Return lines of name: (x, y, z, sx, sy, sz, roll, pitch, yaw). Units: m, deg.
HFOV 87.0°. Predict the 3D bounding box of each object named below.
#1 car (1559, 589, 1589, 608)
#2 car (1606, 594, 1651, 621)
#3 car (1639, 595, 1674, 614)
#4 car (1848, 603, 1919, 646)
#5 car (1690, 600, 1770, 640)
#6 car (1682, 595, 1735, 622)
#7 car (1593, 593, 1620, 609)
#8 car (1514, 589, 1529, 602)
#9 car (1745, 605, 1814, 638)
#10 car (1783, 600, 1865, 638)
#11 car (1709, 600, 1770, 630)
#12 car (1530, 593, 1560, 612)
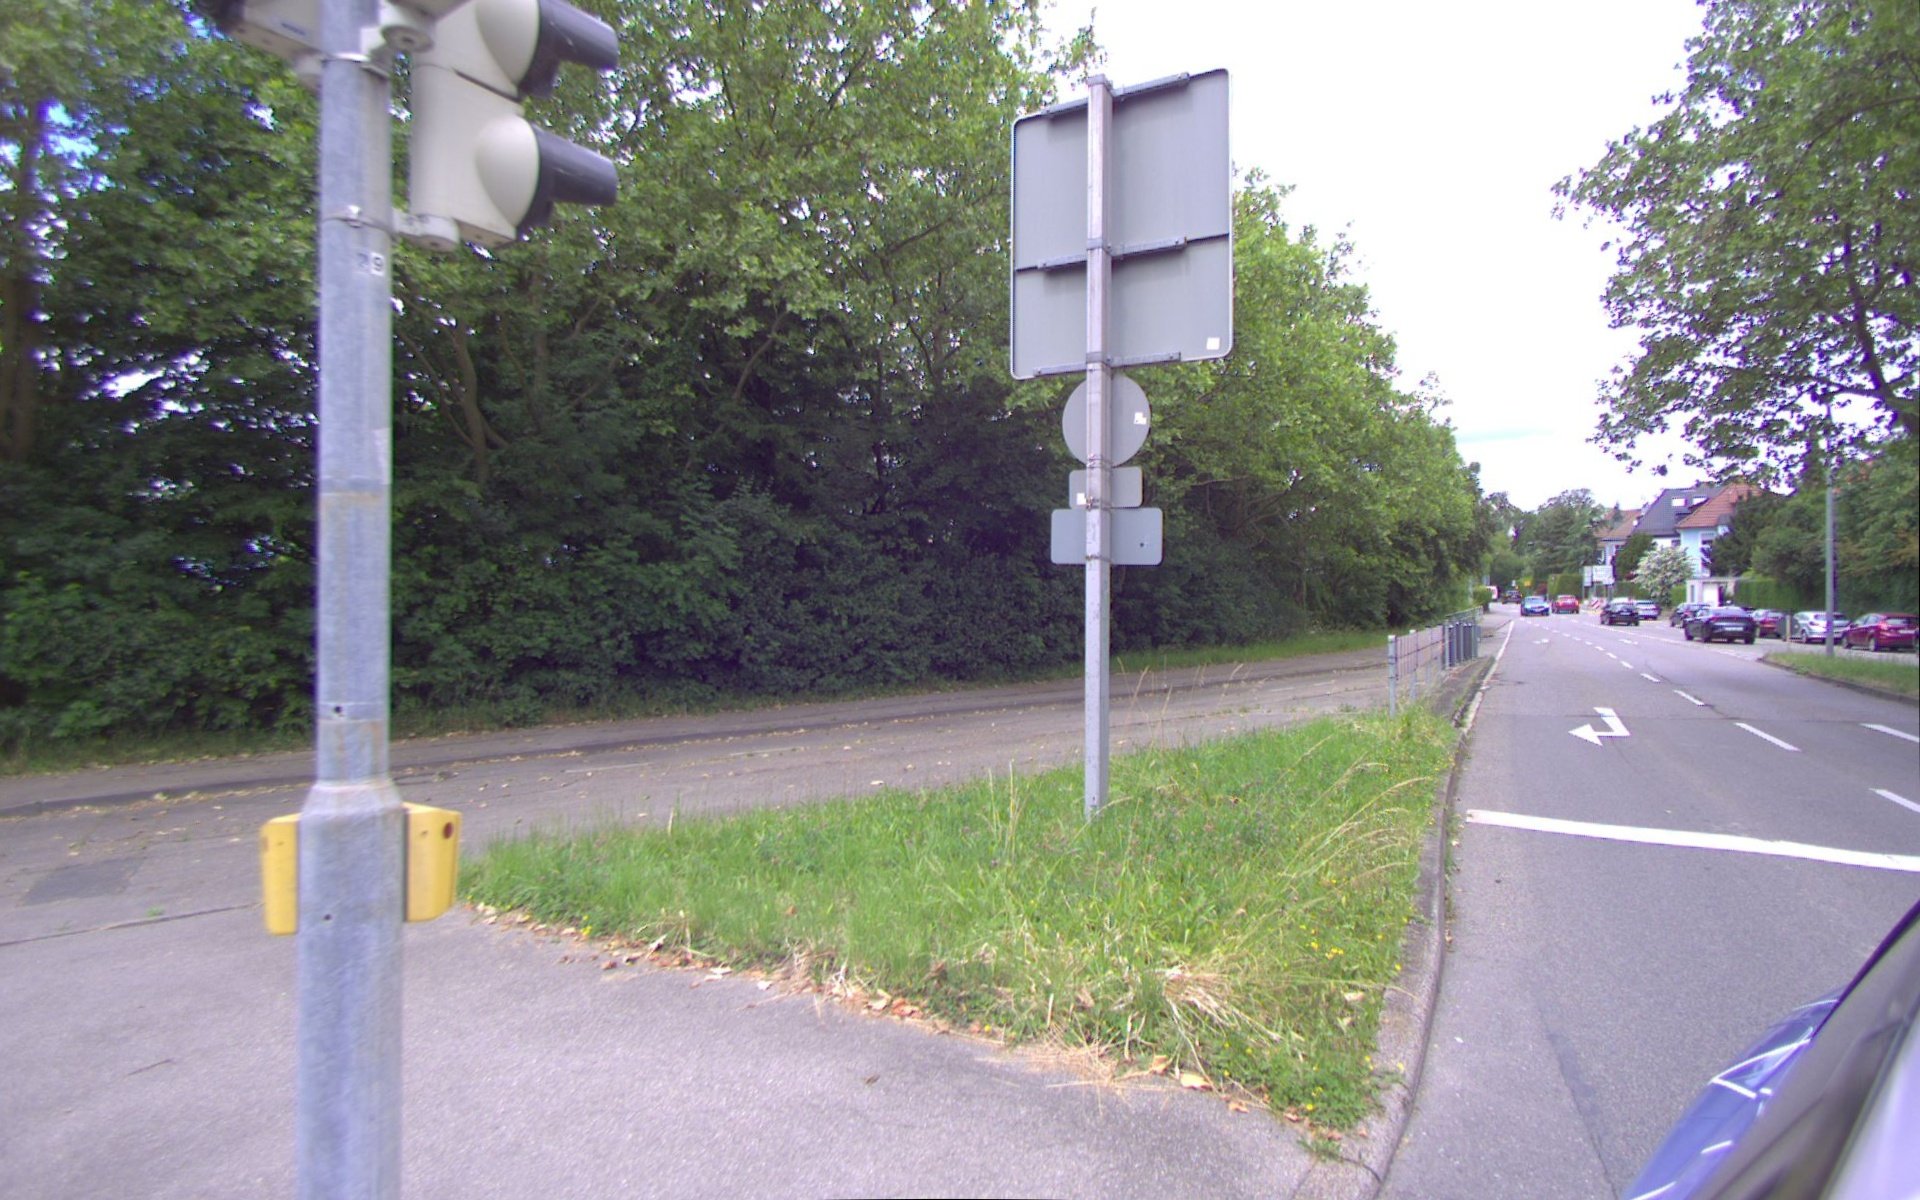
car: (53.980, -0.128, 88.987, 1.668, 1.524, 3.801, 2, 0, 23)
car: (43.866, 0.484, 66.467, 1.825, 1.636, 3.881, 2, 0, 24)
car: (51.991, 0.321, 75.595, 1.671, 1.346, 3.794, -1, -1, 28)
car: (35.630, 0.920, 38.455, 1.668, 1.524, 3.801, 2, 0, 23)
car: (34.183, 0.859, 45.035, 1.778, 1.636, 4.549, 2, 0, 24)
car: (44.509, 0.512, 60.250, 1.668, 1.524, 3.801, 2, 0, 23)
car: (58.151, 0.086, 91.119, 1.671, 1.346, 3.794, -1, -1, 28)
car: (70.152, -0.574, 126.417, 1.658, 1.565, 3.958, 0, 0, 30)
car: (40.673, 1.031, 50.313, 1.668, 1.524, 3.801, 2, 0, 23)
car: (38.085, 0.807, 44.718, 1.668, 1.524, 3.801, 2, 0, 23)
car: (42.631, 0.788, 55.430, 1.668, 1.524, 3.801, 2, 0, 23)
car: (49.538, 0.213, 85.764, 1.778, 1.447, 4.112, 2, 0, 24)
